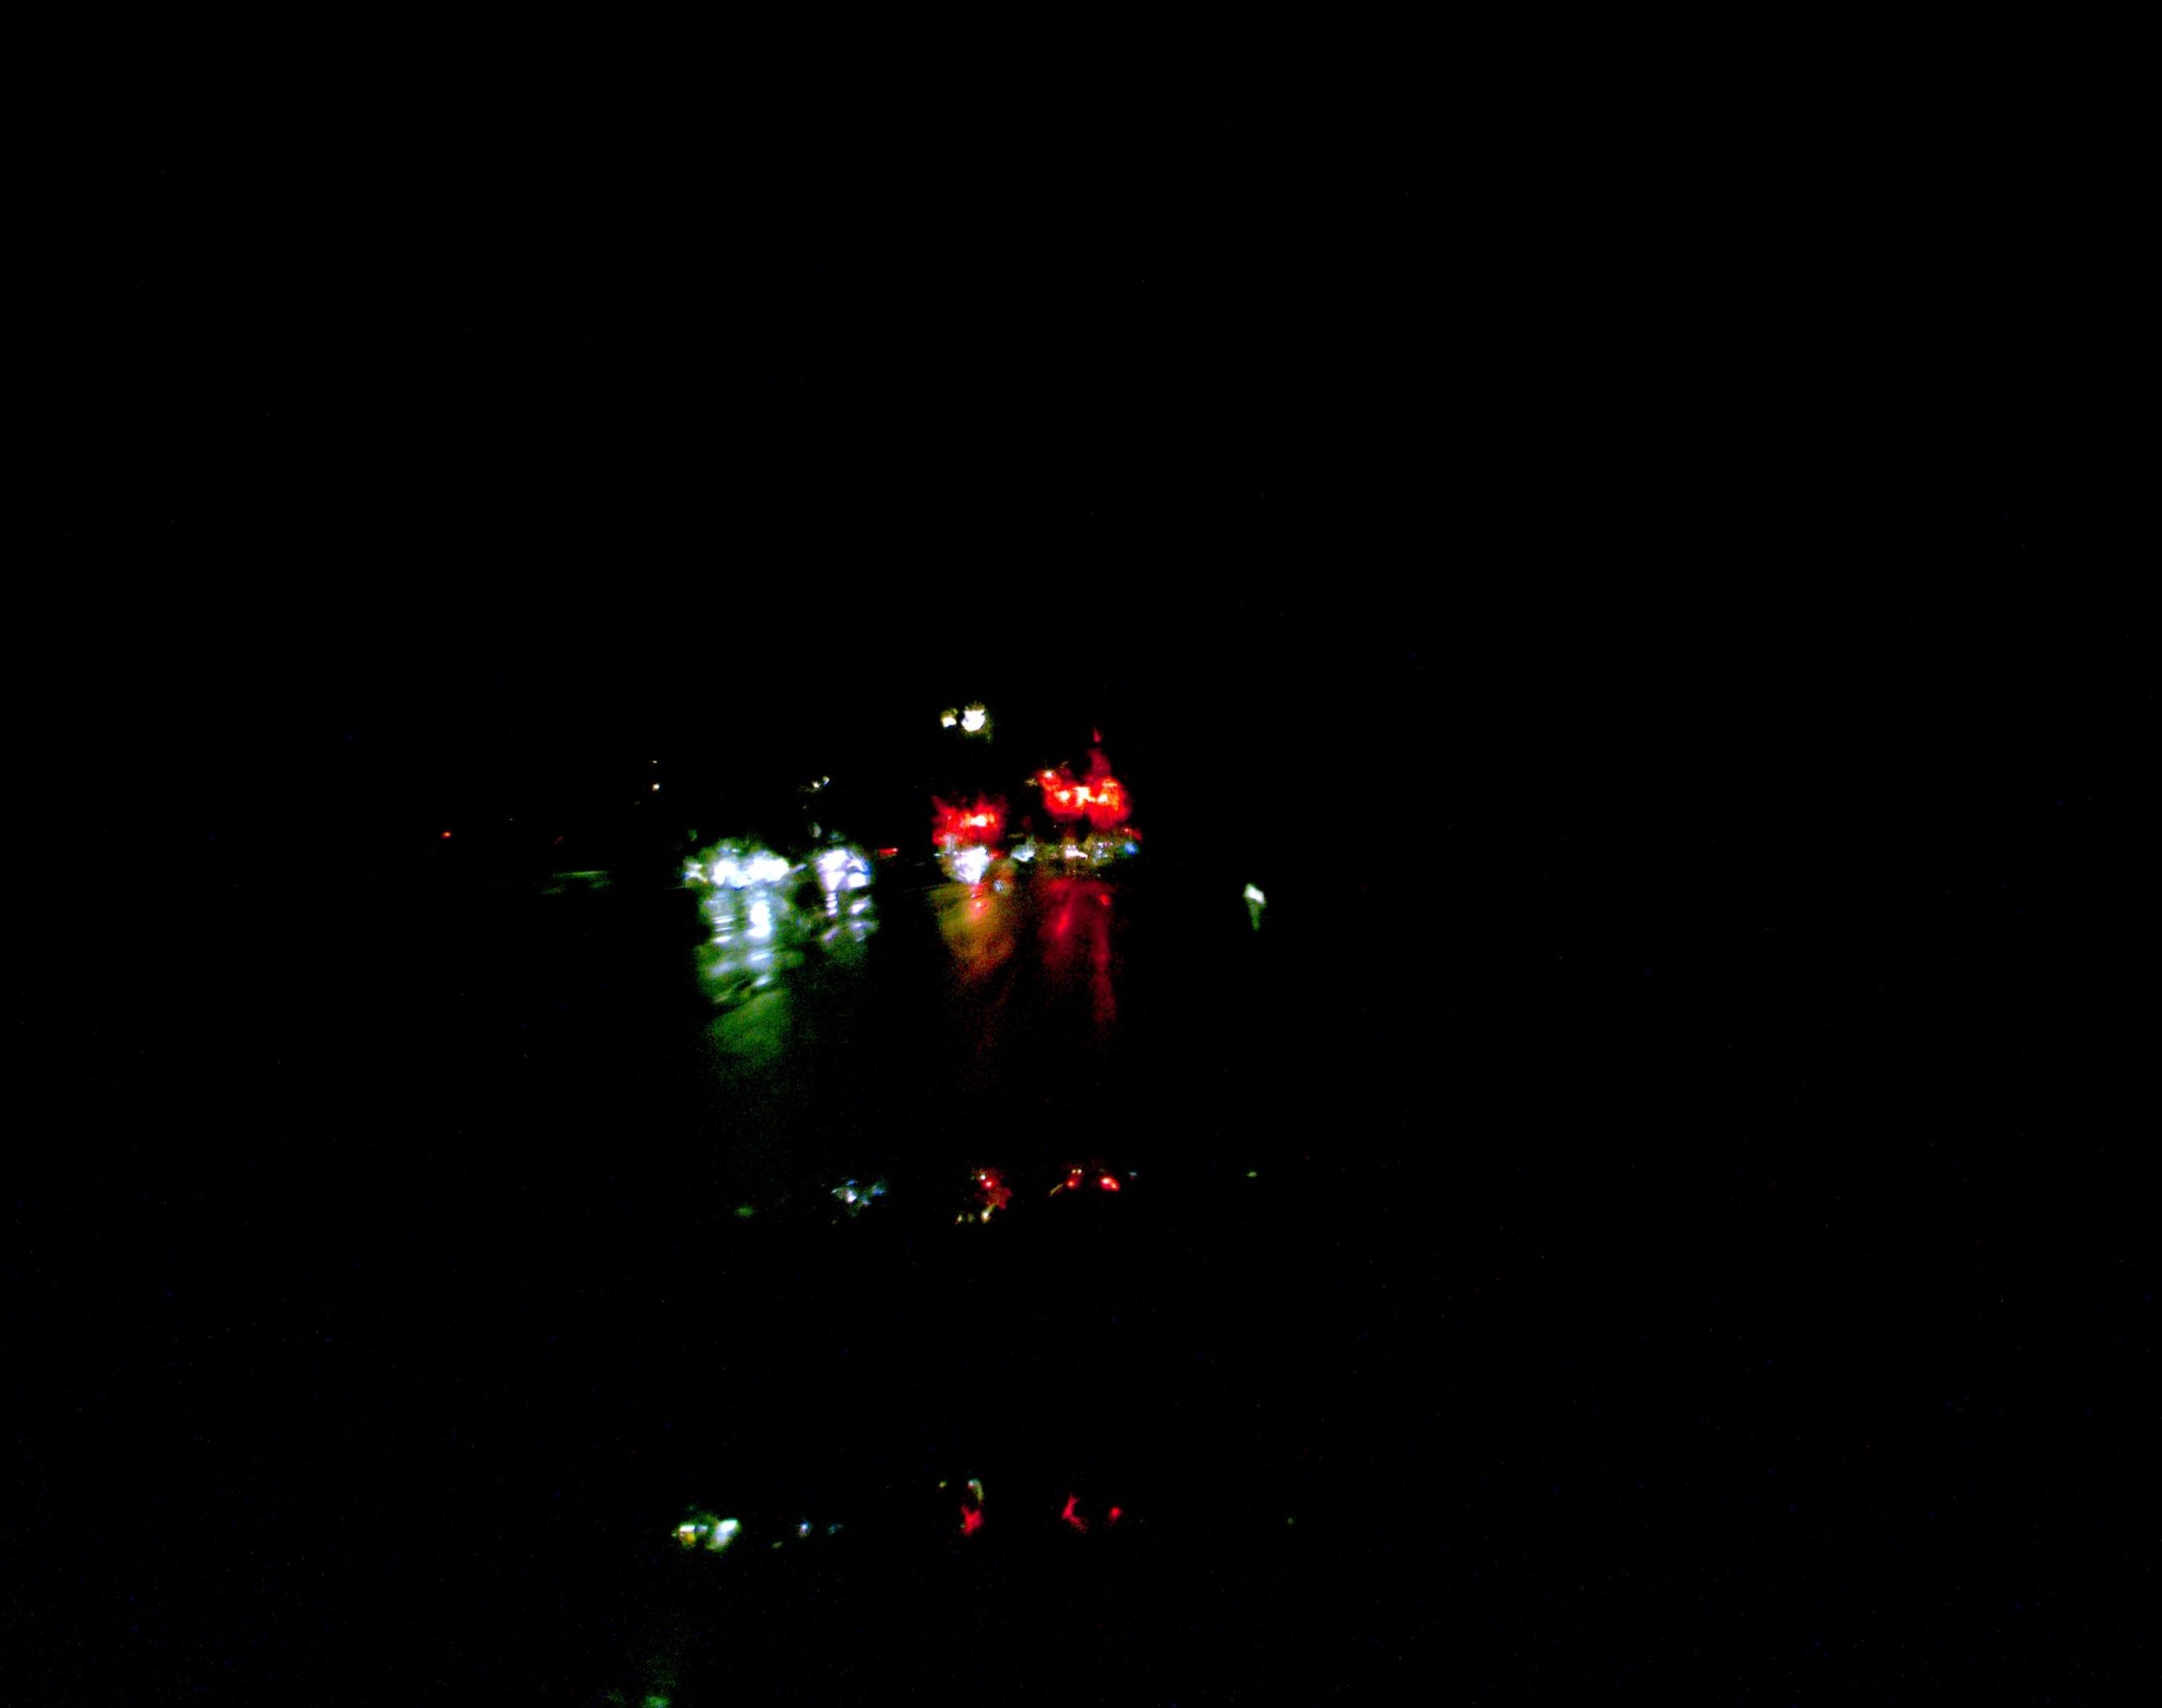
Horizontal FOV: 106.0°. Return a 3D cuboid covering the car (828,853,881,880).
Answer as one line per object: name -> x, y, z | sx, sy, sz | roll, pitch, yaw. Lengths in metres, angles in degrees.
car -> -13.413, 0.720, 48.496 | 1.988, 1.507, 4.553 | 0, 0, -2

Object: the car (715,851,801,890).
car -> -12.623, 0.612, 32.120 | 1.871, 1.397, 4.245 | -1, 0, -3

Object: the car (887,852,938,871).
car -> -14.656, 0.634, 71.033 | 3.968, 1.662, 2.003 | 0, 0, 5
